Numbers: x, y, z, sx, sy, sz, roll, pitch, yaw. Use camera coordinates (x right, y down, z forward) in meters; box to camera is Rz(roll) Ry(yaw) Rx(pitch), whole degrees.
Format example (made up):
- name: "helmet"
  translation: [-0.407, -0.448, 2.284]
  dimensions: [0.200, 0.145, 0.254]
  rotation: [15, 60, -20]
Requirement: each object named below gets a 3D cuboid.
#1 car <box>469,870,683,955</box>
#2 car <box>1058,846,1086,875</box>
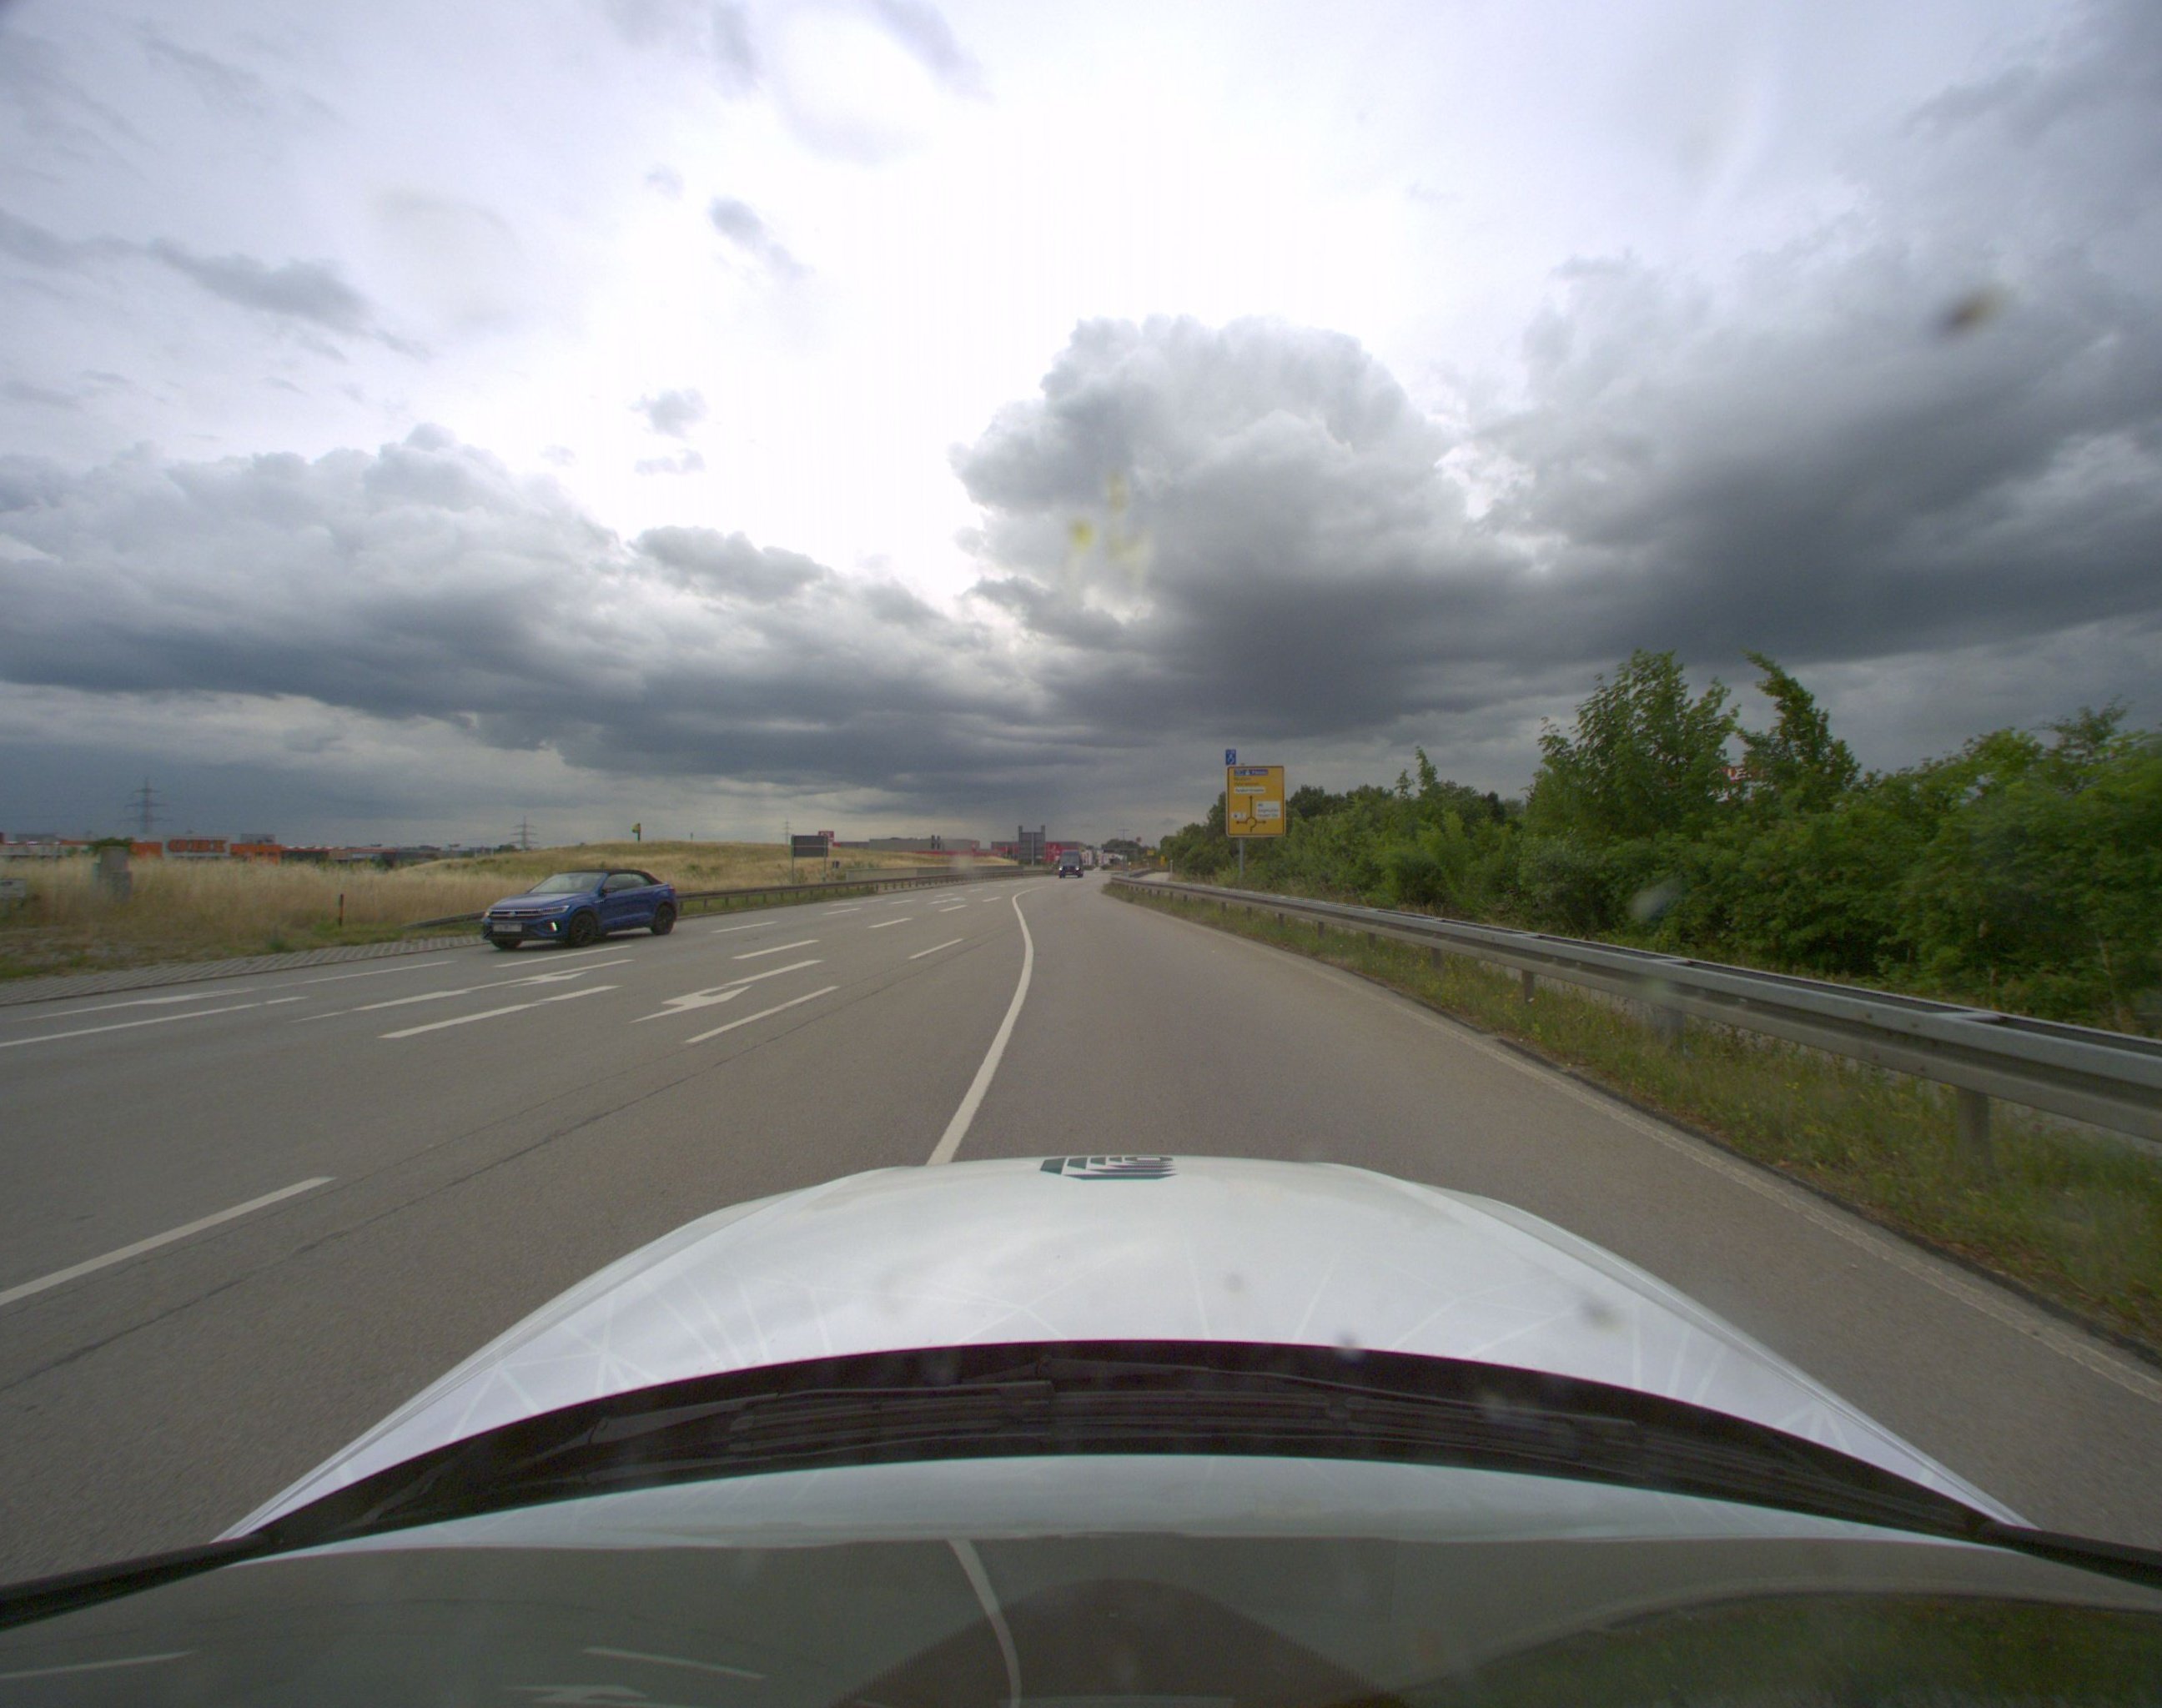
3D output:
- name: "car"
  translation: [-10.478, 1.141, 17.309]
  dimensions: [1.789, 1.550, 4.005]
  rotation: [-1, 0, 5]
- name: "car"
  translation: [-0.825, 0.578, 76.537]
  dimensions: [1.984, 2.592, 6.012]
  rotation: [-1, -1, 5]
